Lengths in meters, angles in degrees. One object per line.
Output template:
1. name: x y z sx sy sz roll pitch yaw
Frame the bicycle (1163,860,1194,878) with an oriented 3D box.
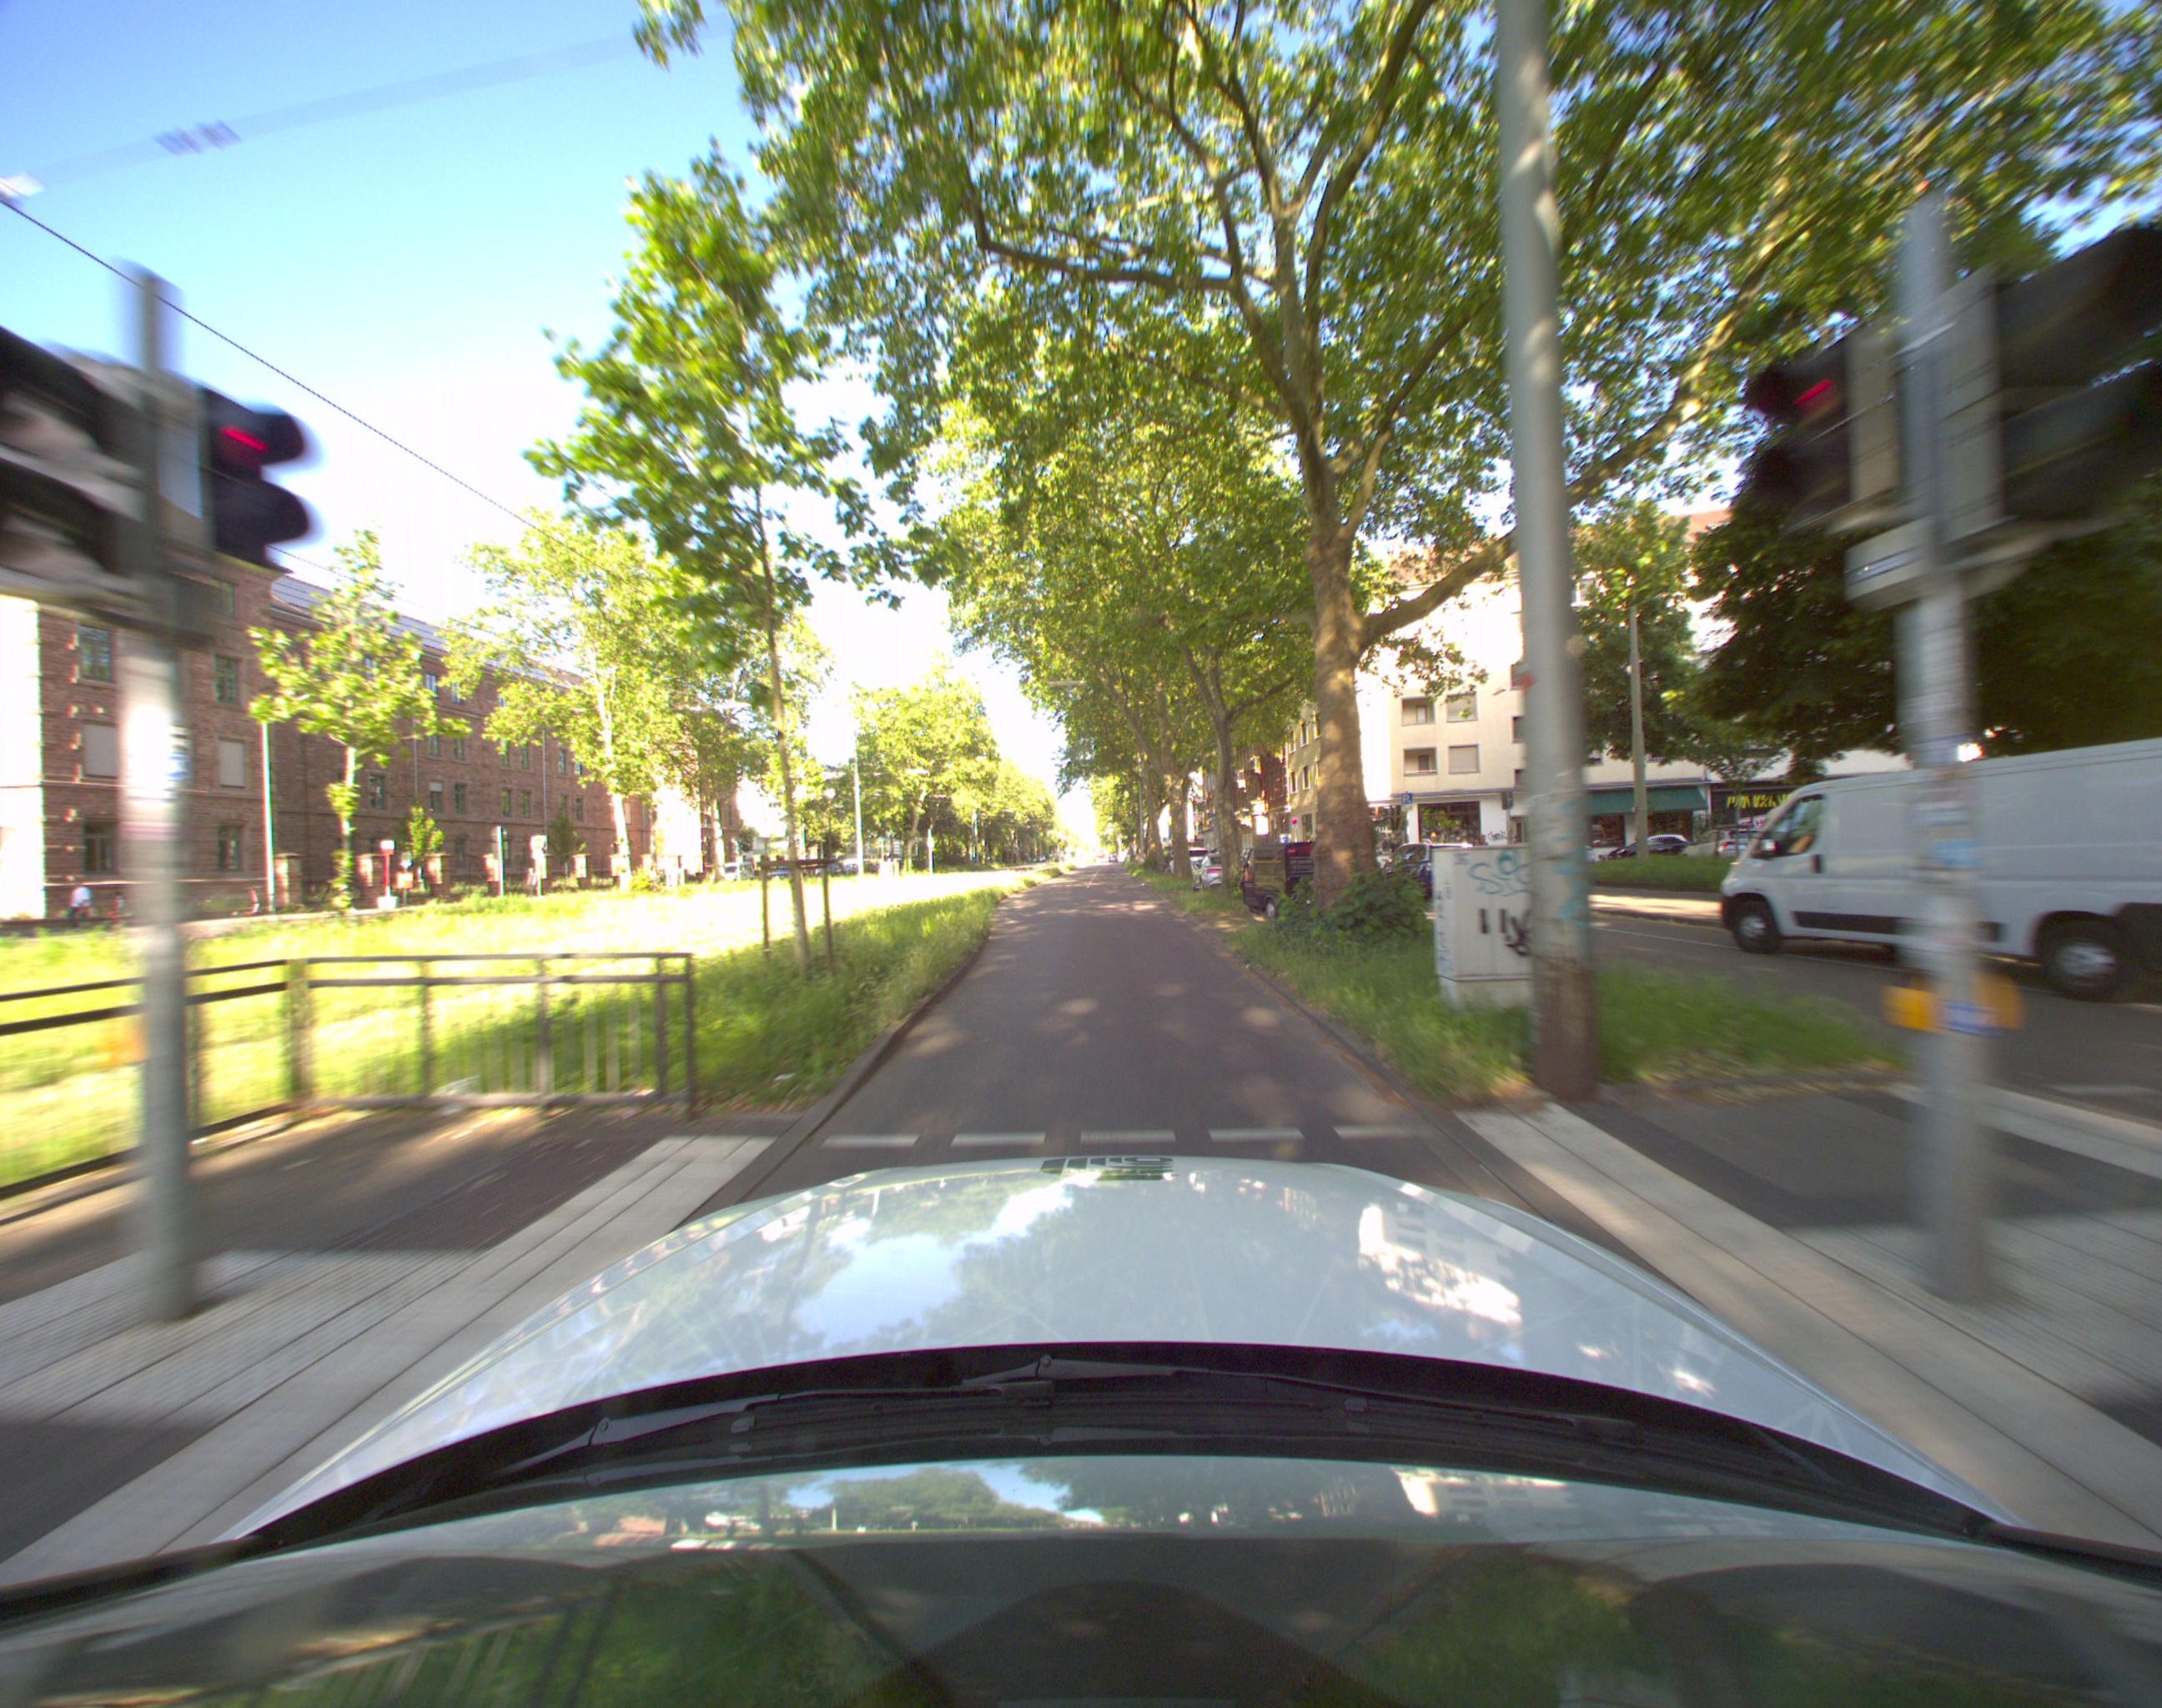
1. bicycle: 5.402 0.810 45.175 1.773 0.928 0.646 -2 -1 -39

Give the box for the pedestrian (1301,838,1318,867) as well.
1. pedestrian: 13.905 -0.104 49.489 0.792 1.704 0.724 -2 -1 2

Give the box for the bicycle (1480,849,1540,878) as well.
1. bicycle: 17.405 0.404 33.095 2.119 1.103 0.511 -2 -1 26

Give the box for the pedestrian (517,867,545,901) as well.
1. pedestrian: -31.592 1.698 46.784 0.897 1.899 0.942 -2 0 3

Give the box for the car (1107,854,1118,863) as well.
1. car: 6.112 0.855 156.074 2.014 1.662 4.001 -2 0 1

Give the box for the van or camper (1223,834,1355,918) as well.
1. van or camper: 4.360 0.441 17.435 1.503 1.588 2.825 -2 0 -15

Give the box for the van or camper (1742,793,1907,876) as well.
1. van or camper: 26.335 -0.636 29.184 2.130 2.636 5.613 -2 0 17

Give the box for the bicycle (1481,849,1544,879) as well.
1. bicycle: 16.619 0.392 31.406 2.119 1.103 0.511 -2 -1 26

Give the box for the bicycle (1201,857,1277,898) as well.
1. bicycle: 4.627 0.683 23.900 2.063 1.124 0.677 -2 -1 0

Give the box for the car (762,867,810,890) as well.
1. car: -24.320 2.011 67.325 1.986 1.649 4.830 -2 0 2

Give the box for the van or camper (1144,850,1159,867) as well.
1. van or camper: 10.286 0.646 118.730 2.174 2.480 6.275 0 -1 5

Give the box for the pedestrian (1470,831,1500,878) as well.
1. pedestrian: 14.587 0.028 29.430 0.675 1.651 0.907 -2 0 9

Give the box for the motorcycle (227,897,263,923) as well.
1. motorcycle: -32.794 2.193 31.948 0.333 0.946 1.044 -2 -1 -2

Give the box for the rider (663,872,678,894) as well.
1. rider: -31.473 2.222 62.485 0.725 1.644 0.686 -2 -1 2

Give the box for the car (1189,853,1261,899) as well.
1. car: 4.860 0.693 28.115 1.747 1.398 5.028 -2 0 2

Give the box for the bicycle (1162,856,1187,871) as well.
1. bicycle: 8.485 0.884 73.928 2.154 1.294 0.984 -1 -1 3

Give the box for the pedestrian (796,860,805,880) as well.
1. pedestrian: -30.026 1.711 87.200 0.712 2.013 0.626 -2 -1 2

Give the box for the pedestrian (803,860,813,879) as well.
1. pedestrian: -29.222 1.691 87.194 0.712 2.013 0.626 -2 -1 2

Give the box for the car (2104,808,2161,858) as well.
1. car: 36.572 -0.723 26.445 1.978 1.628 4.409 -2 0 16

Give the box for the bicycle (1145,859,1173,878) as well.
1. bicycle: 4.560 0.831 47.550 1.584 1.058 0.405 -2 -1 8

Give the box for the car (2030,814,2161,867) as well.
1. car: 34.624 -0.452 27.007 1.978 1.628 4.409 -2 0 16

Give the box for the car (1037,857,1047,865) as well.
1. car: -10.457 1.926 218.595 1.985 1.870 4.876 -4 0 3

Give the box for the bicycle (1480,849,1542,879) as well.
1. bicycle: 16.907 0.395 32.071 2.119 1.103 0.511 -2 -1 26

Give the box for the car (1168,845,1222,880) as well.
1. car: 5.663 0.413 41.040 1.897 1.636 4.822 -2 0 -1

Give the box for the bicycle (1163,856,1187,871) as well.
1. bicycle: 8.681 0.894 75.074 2.156 1.294 0.983 -1 -1 2

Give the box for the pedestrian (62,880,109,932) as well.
1. pedestrian: -33.648 1.730 27.533 0.684 1.695 0.876 -2 0 -27

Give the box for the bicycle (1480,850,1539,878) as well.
1. bicycle: 17.644 0.417 33.565 2.119 1.103 0.475 -2 -1 26

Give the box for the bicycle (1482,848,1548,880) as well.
1. bicycle: 16.388 0.384 30.809 2.169 1.103 0.511 -2 -1 26

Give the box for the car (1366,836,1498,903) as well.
1. car: 10.276 0.429 24.349 1.812 1.742 5.169 -2 0 2

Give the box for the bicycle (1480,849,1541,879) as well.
1. bicycle: 17.153 0.403 32.588 2.119 1.103 0.511 -2 -1 26

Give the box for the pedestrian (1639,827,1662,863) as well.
1. pedestrian: 28.912 -0.458 41.378 0.716 1.809 0.692 -2 -1 16

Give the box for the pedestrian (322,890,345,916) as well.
1. pedestrian: -33.094 2.163 36.055 0.443 1.100 0.587 -2 0 -3

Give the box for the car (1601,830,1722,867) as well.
1. car: 28.135 -0.251 39.648 4.346 1.644 2.009 -2 0 17

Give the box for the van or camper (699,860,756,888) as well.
1. van or camper: -24.499 1.367 56.656 1.987 1.787 4.431 -3 0 0

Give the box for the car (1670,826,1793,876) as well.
1. car: 23.723 -0.098 29.921 1.978 1.628 4.409 -2 0 16

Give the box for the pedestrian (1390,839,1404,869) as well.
1. pedestrian: 18.013 0.006 46.455 0.587 1.650 0.727 -2 -1 13

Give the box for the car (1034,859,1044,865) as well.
1. car: -10.517 2.042 204.220 1.788 1.508 4.342 -5 -1 3

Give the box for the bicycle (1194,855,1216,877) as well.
1. bicycle: 5.361 0.518 35.312 0.636 0.925 2.165 -2 0 2

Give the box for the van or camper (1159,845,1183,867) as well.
1. van or camper: 8.948 0.183 81.053 1.827 2.098 4.774 1 -1 0

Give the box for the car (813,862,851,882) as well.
1. car: -23.799 1.708 77.978 1.759 1.719 4.427 -2 0 6

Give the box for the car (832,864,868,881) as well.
1. car: -23.676 1.896 83.471 1.983 1.615 4.427 -2 0 6

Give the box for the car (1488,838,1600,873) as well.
1. car: 23.324 0.084 41.232 4.550 1.581 2.009 -2 0 17

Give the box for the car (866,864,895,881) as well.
1. car: -23.193 2.094 94.459 2.102 1.809 4.737 -2 0 0

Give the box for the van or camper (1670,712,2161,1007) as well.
1. van or camper: 9.591 0.037 8.820 2.282 2.286 5.824 -2 -1 1

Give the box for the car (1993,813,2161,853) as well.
1. car: 43.156 -0.867 35.317 4.346 1.537 2.009 -2 0 17
